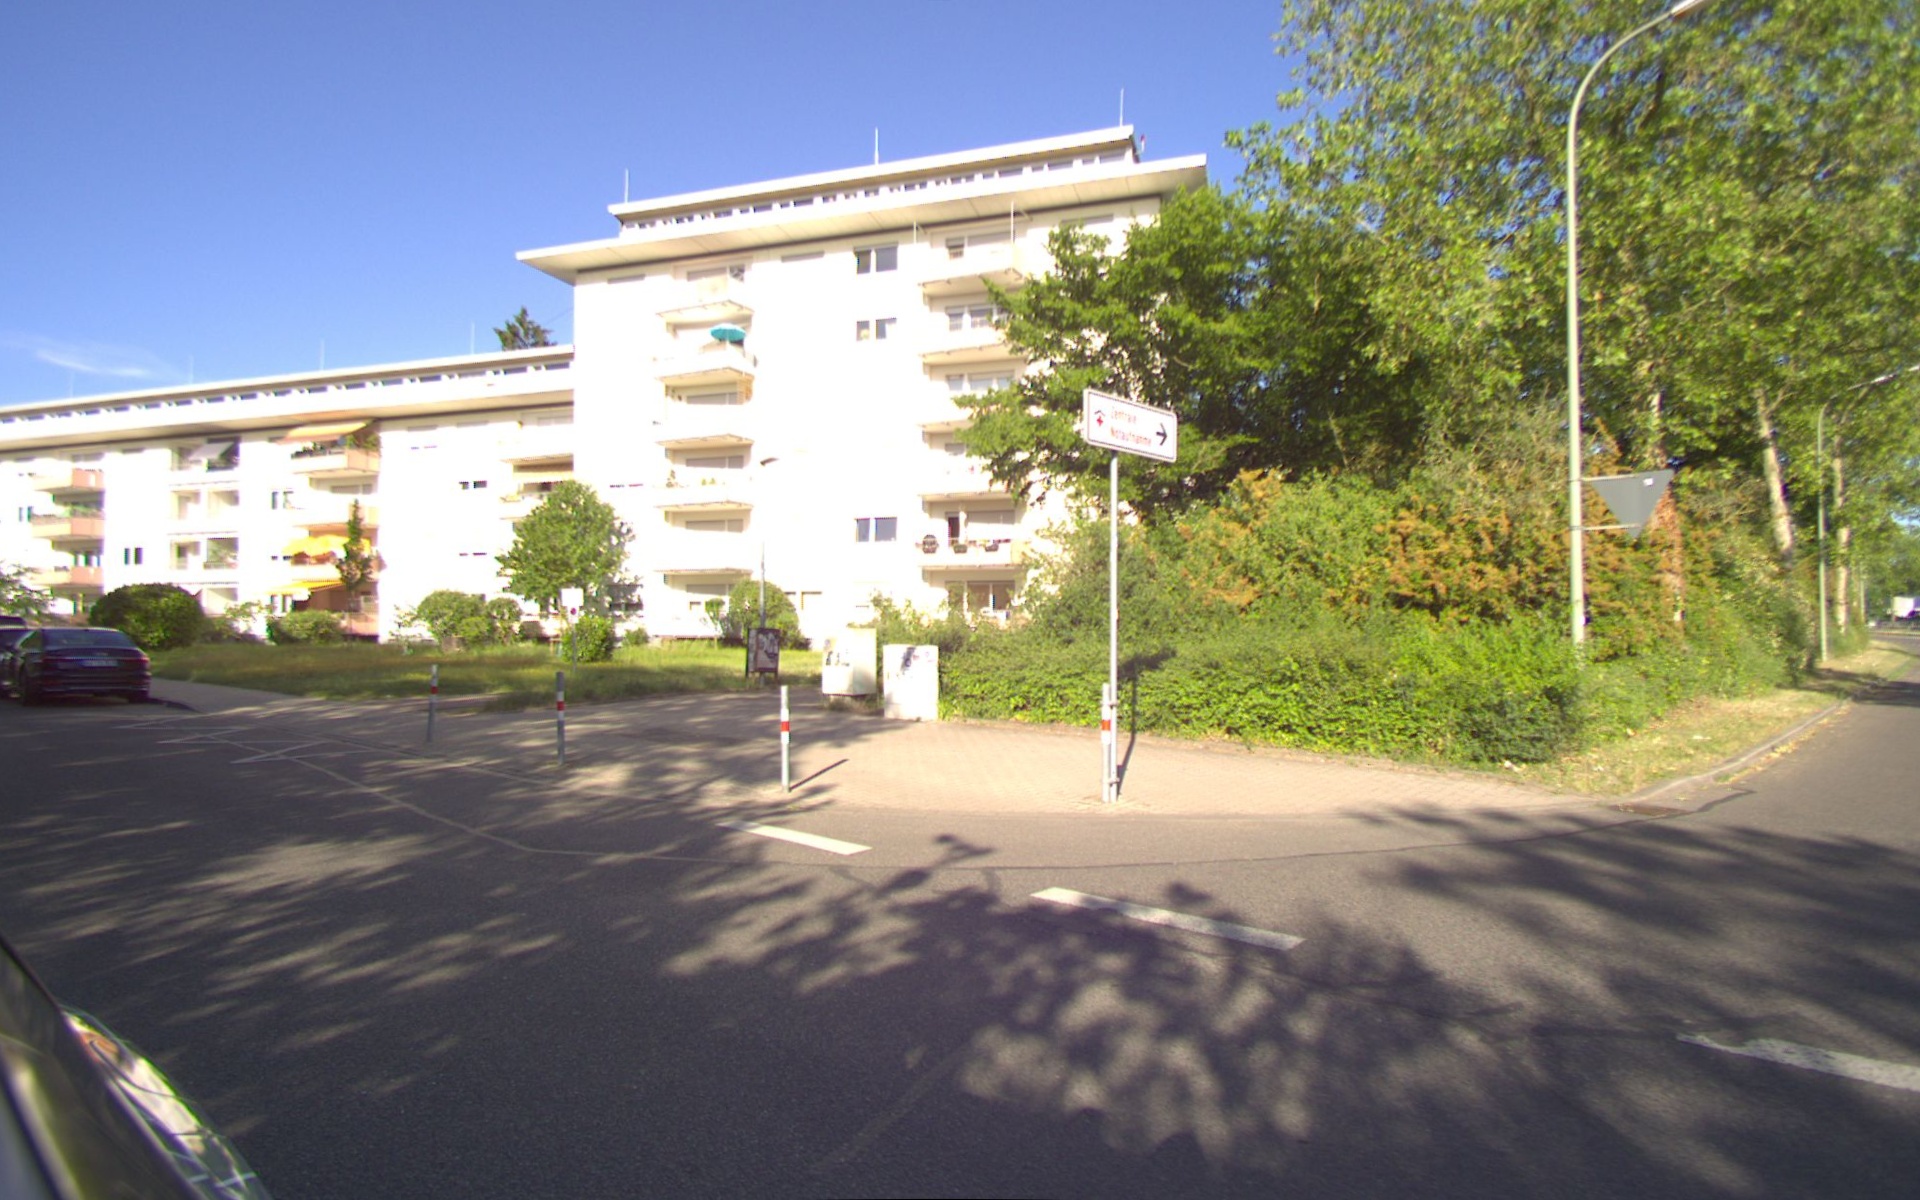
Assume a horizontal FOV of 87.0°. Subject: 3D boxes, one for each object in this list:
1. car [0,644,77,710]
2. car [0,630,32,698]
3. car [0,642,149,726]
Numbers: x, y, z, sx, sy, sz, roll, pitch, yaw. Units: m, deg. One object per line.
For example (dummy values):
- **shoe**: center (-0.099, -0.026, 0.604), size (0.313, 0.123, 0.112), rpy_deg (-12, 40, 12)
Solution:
- **car**: center (-22.636, 1.787, 24.104), size (4.015, 1.465, 1.821), rpy_deg (-2, -4, 41)
- **car**: center (-27.794, 1.754, 28.370), size (4.882, 1.794, 1.822), rpy_deg (-2, -4, 39)
- **car**: center (-17.614, 1.585, 19.795), size (4.676, 1.475, 1.711), rpy_deg (-3, -4, 39)
